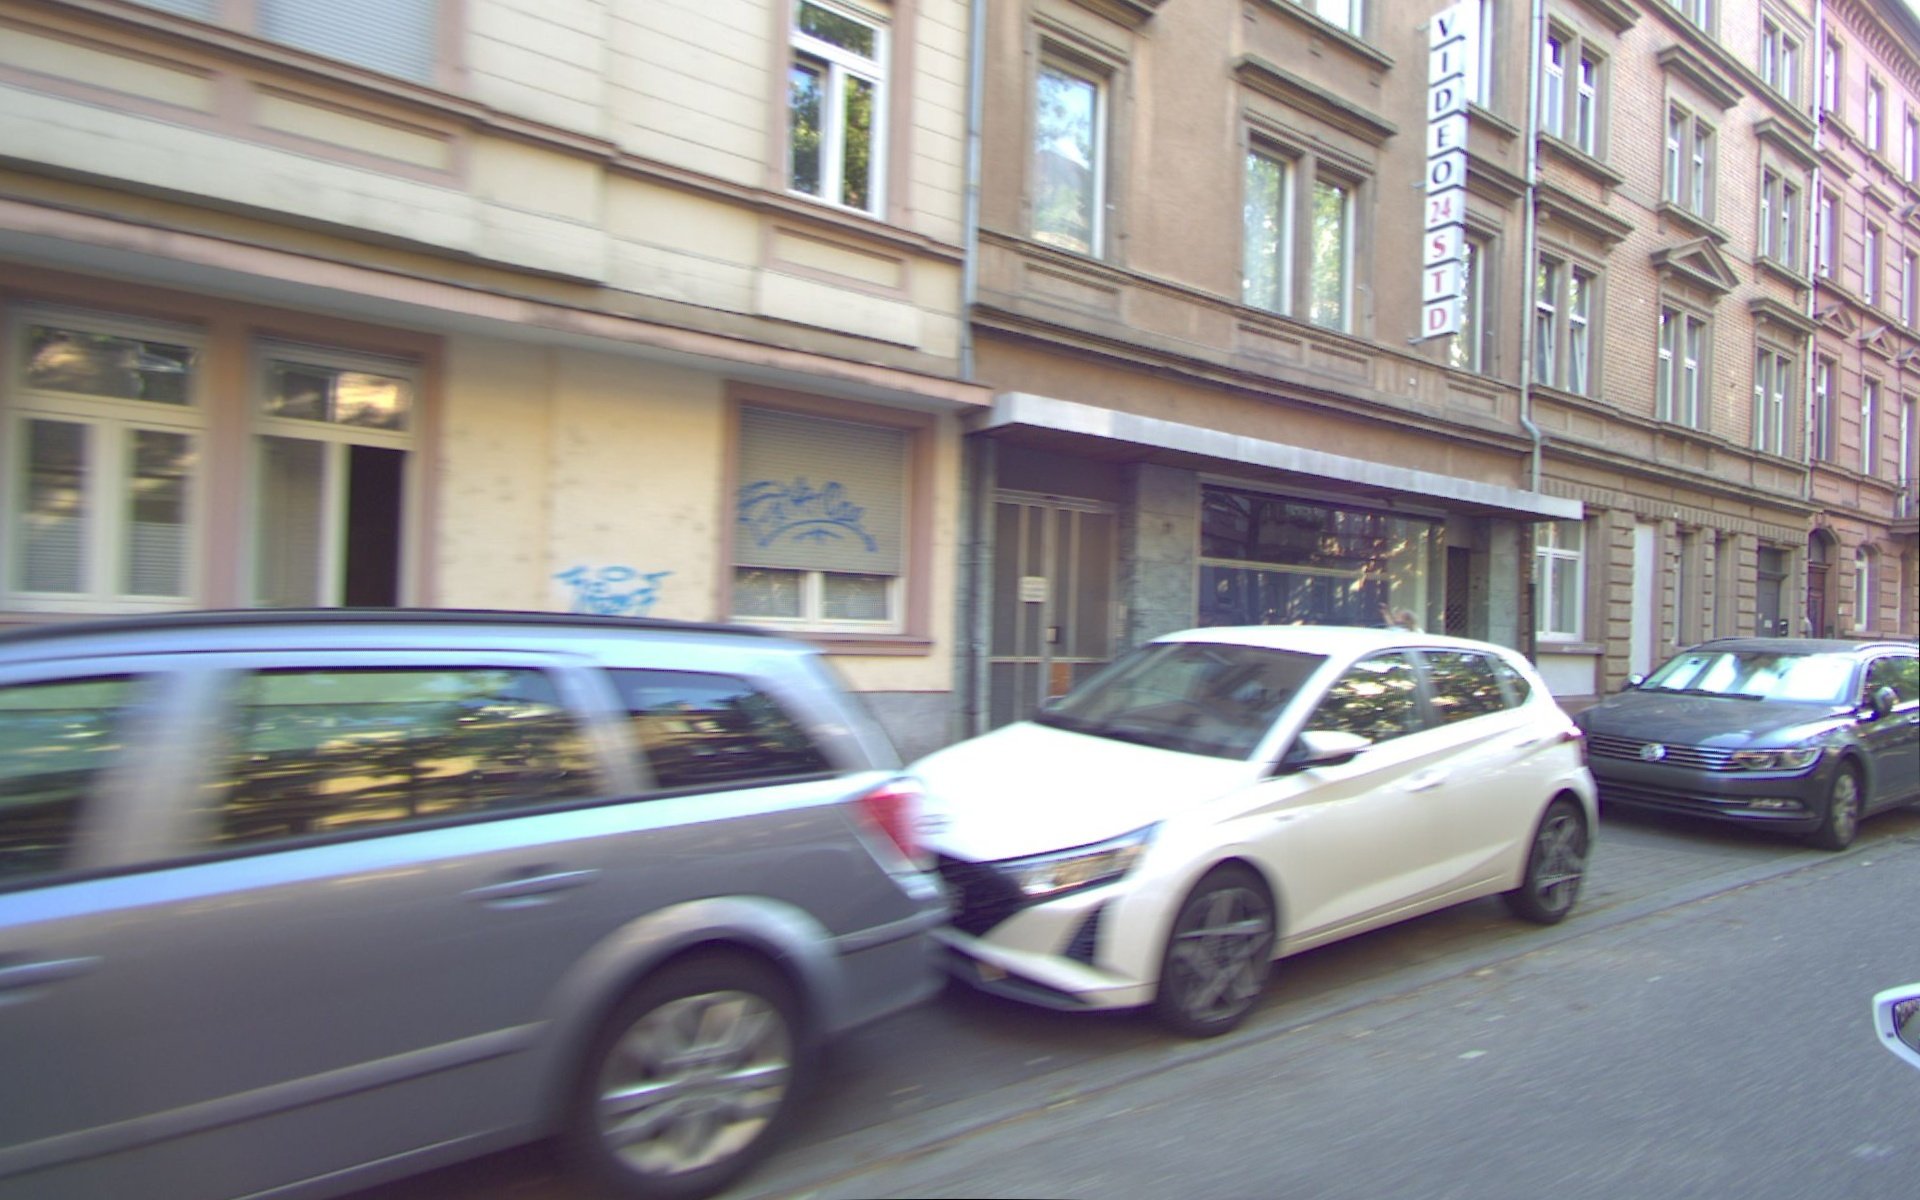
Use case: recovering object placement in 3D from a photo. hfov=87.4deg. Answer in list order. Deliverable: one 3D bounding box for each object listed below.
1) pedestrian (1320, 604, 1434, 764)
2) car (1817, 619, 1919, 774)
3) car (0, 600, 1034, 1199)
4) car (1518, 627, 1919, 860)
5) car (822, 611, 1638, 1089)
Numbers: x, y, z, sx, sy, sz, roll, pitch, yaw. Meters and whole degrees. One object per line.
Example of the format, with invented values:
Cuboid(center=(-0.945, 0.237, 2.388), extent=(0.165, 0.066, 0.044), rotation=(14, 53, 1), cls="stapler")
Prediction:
Cuboid(center=(4.554, 0.880, 10.967), extent=(1.008, 1.653, 0.691), rotation=(2, -1, -34), cls="pedestrian")
Cuboid(center=(12.045, 1.102, 11.828), extent=(4.268, 1.621, 1.810), rotation=(2, 1, -33), cls="car")
Cuboid(center=(-2.156, 0.745, 2.539), extent=(4.496, 1.463, 1.874), rotation=(2, -1, -35), cls="car")
Cuboid(center=(6.902, 1.020, 8.568), extent=(4.439, 1.492, 1.852), rotation=(2, -1, -32), cls="car")
Cuboid(center=(1.525, 0.850, 5.046), extent=(4.046, 1.492, 1.746), rotation=(2, -1, -34), cls="car")
